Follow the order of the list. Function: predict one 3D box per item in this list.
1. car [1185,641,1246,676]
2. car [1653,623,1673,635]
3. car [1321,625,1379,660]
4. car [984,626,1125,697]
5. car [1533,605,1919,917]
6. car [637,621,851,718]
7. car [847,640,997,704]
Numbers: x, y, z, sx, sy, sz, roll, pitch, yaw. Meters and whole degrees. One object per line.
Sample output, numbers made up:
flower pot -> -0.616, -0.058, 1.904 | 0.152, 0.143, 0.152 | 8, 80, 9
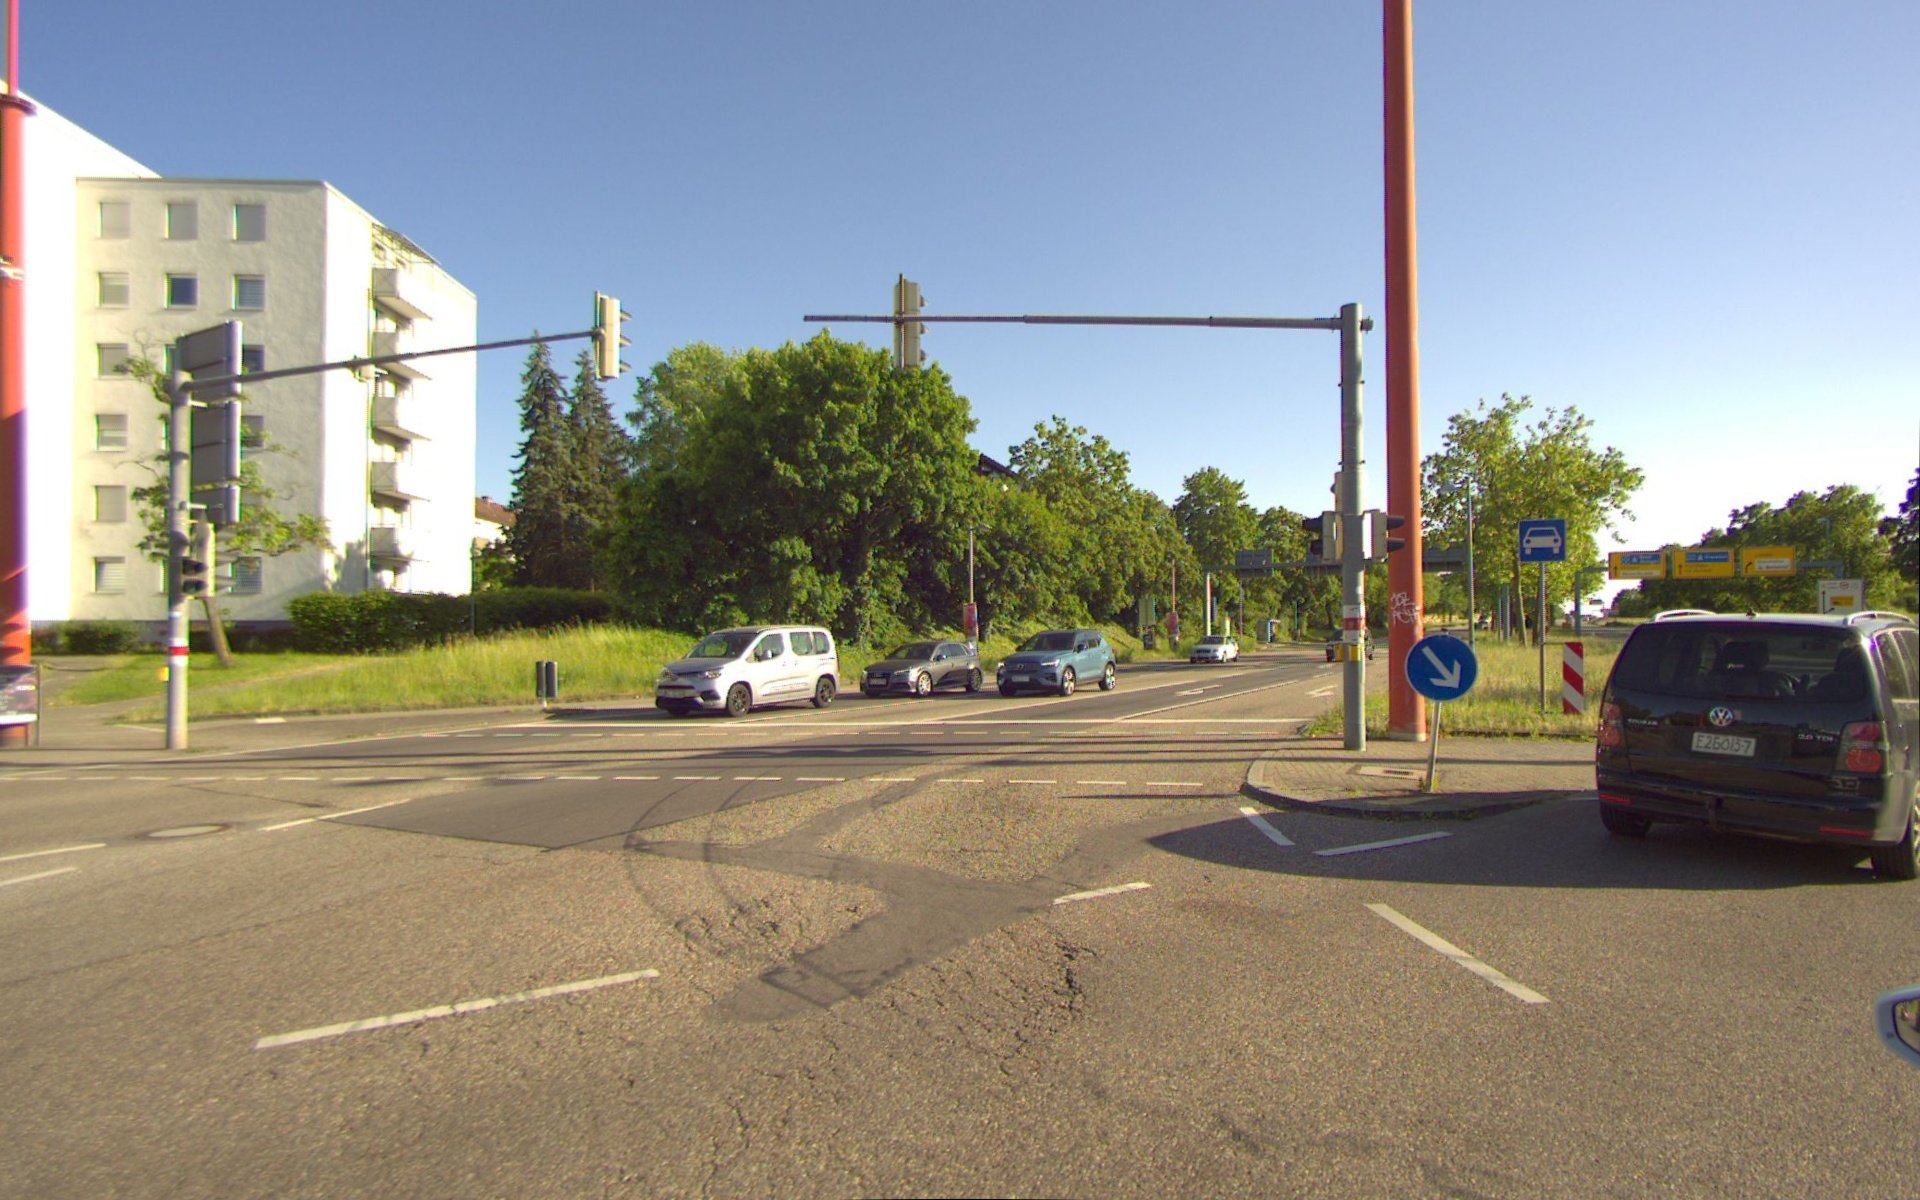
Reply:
car -> 13.233, 3.007, 51.830 | 1.871, 1.631, 4.557 | -3, -3, 30
car -> 88.677, 3.620, 126.703 | 1.743, 1.483, 4.356 | -1, -2, 32
car -> 18.725, 2.006, 48.105 | 1.871, 1.585, 4.557 | -3, -3, 30
car -> 2.553, 1.532, 25.957 | 1.871, 1.631, 4.557 | -3, -3, 30
car -> 6.325, 0.895, 7.574 | 4.879, 1.665, 1.754 | 0, -2, -38
car -> -4.377, 1.381, 21.045 | 1.871, 1.798, 4.438 | -3, -3, 30
car -> -0.900, 1.873, 26.965 | 1.871, 1.493, 4.557 | -3, -3, 30
